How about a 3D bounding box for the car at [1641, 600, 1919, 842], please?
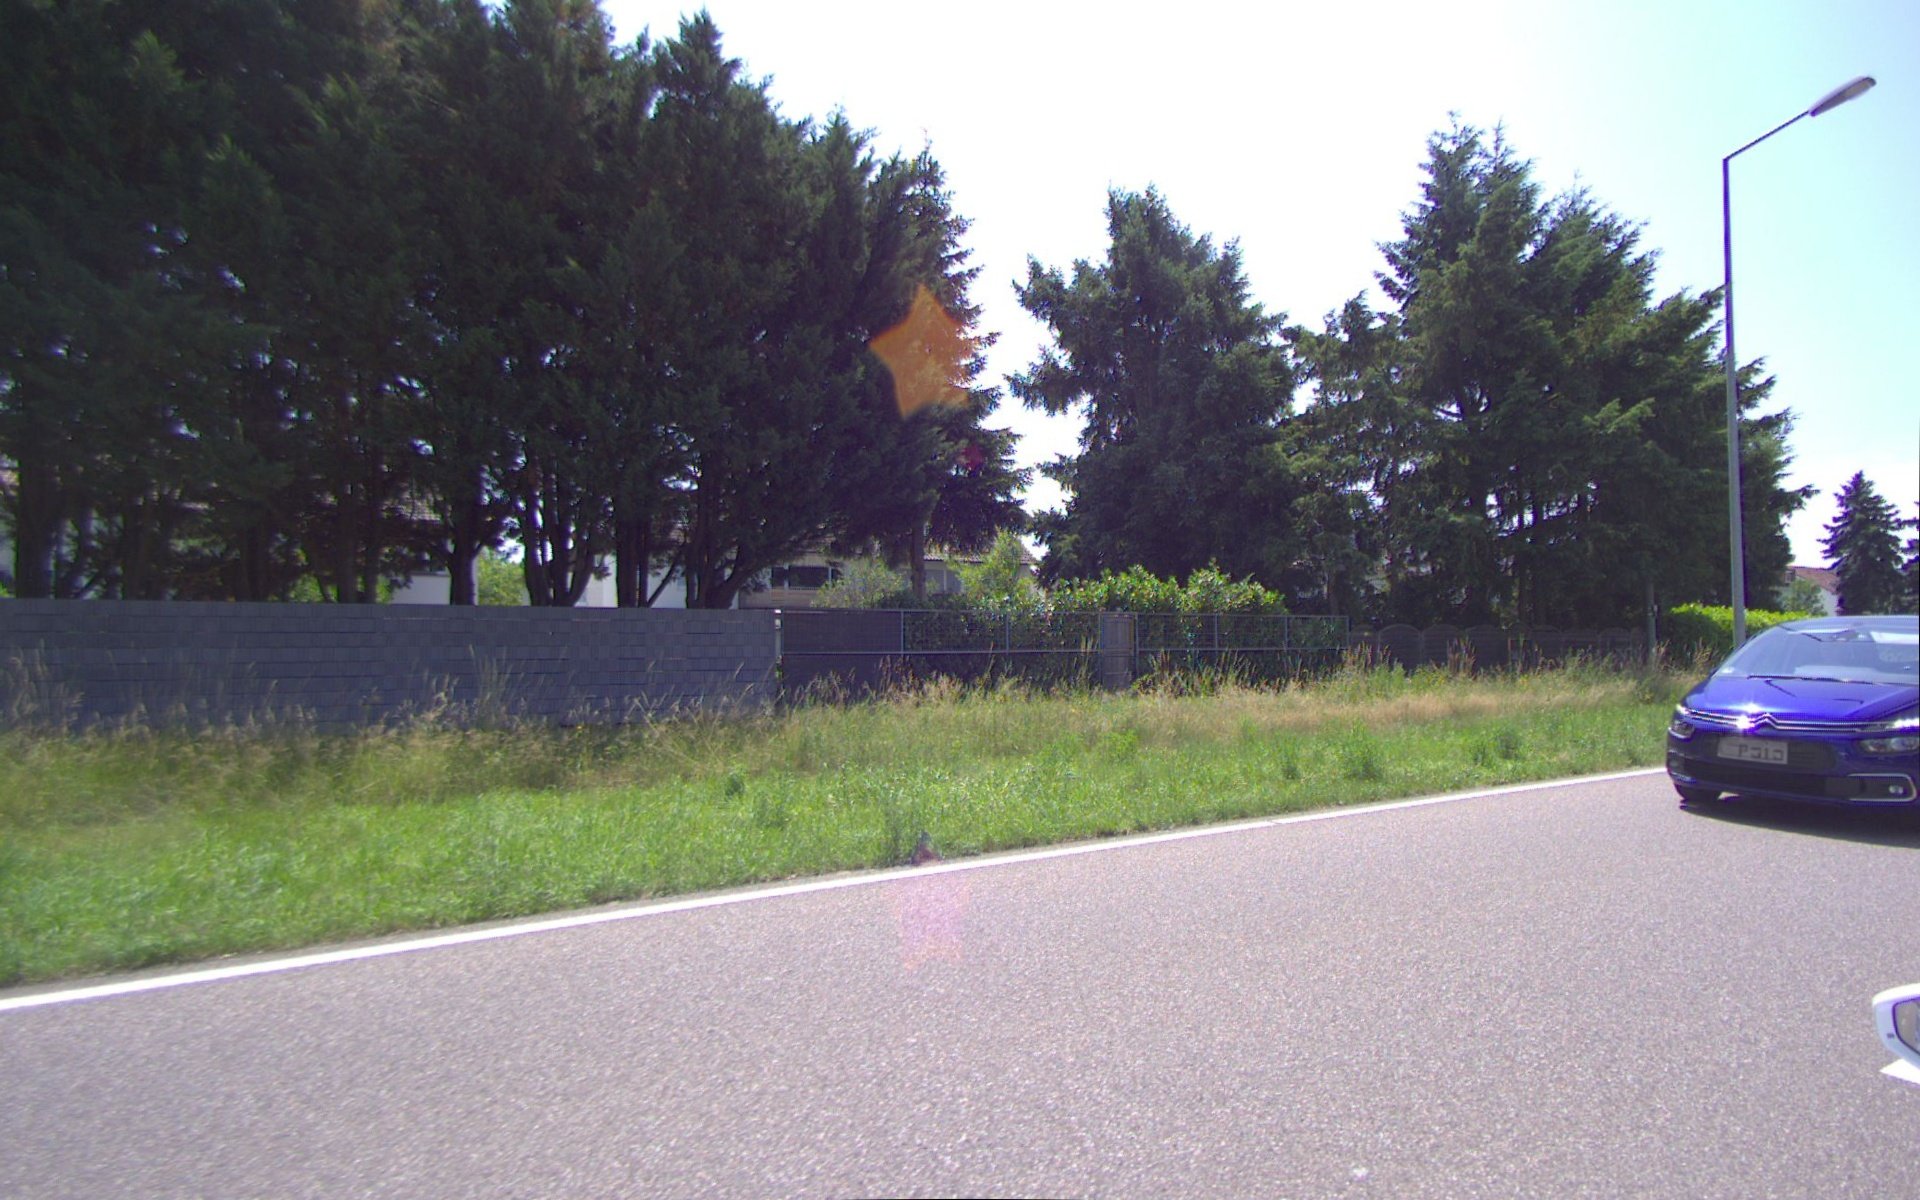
[{"bbox_3d":[7.836,0.886,8.656,3.983,1.653,1.738,1,-2,-31],"label":"car"}]
